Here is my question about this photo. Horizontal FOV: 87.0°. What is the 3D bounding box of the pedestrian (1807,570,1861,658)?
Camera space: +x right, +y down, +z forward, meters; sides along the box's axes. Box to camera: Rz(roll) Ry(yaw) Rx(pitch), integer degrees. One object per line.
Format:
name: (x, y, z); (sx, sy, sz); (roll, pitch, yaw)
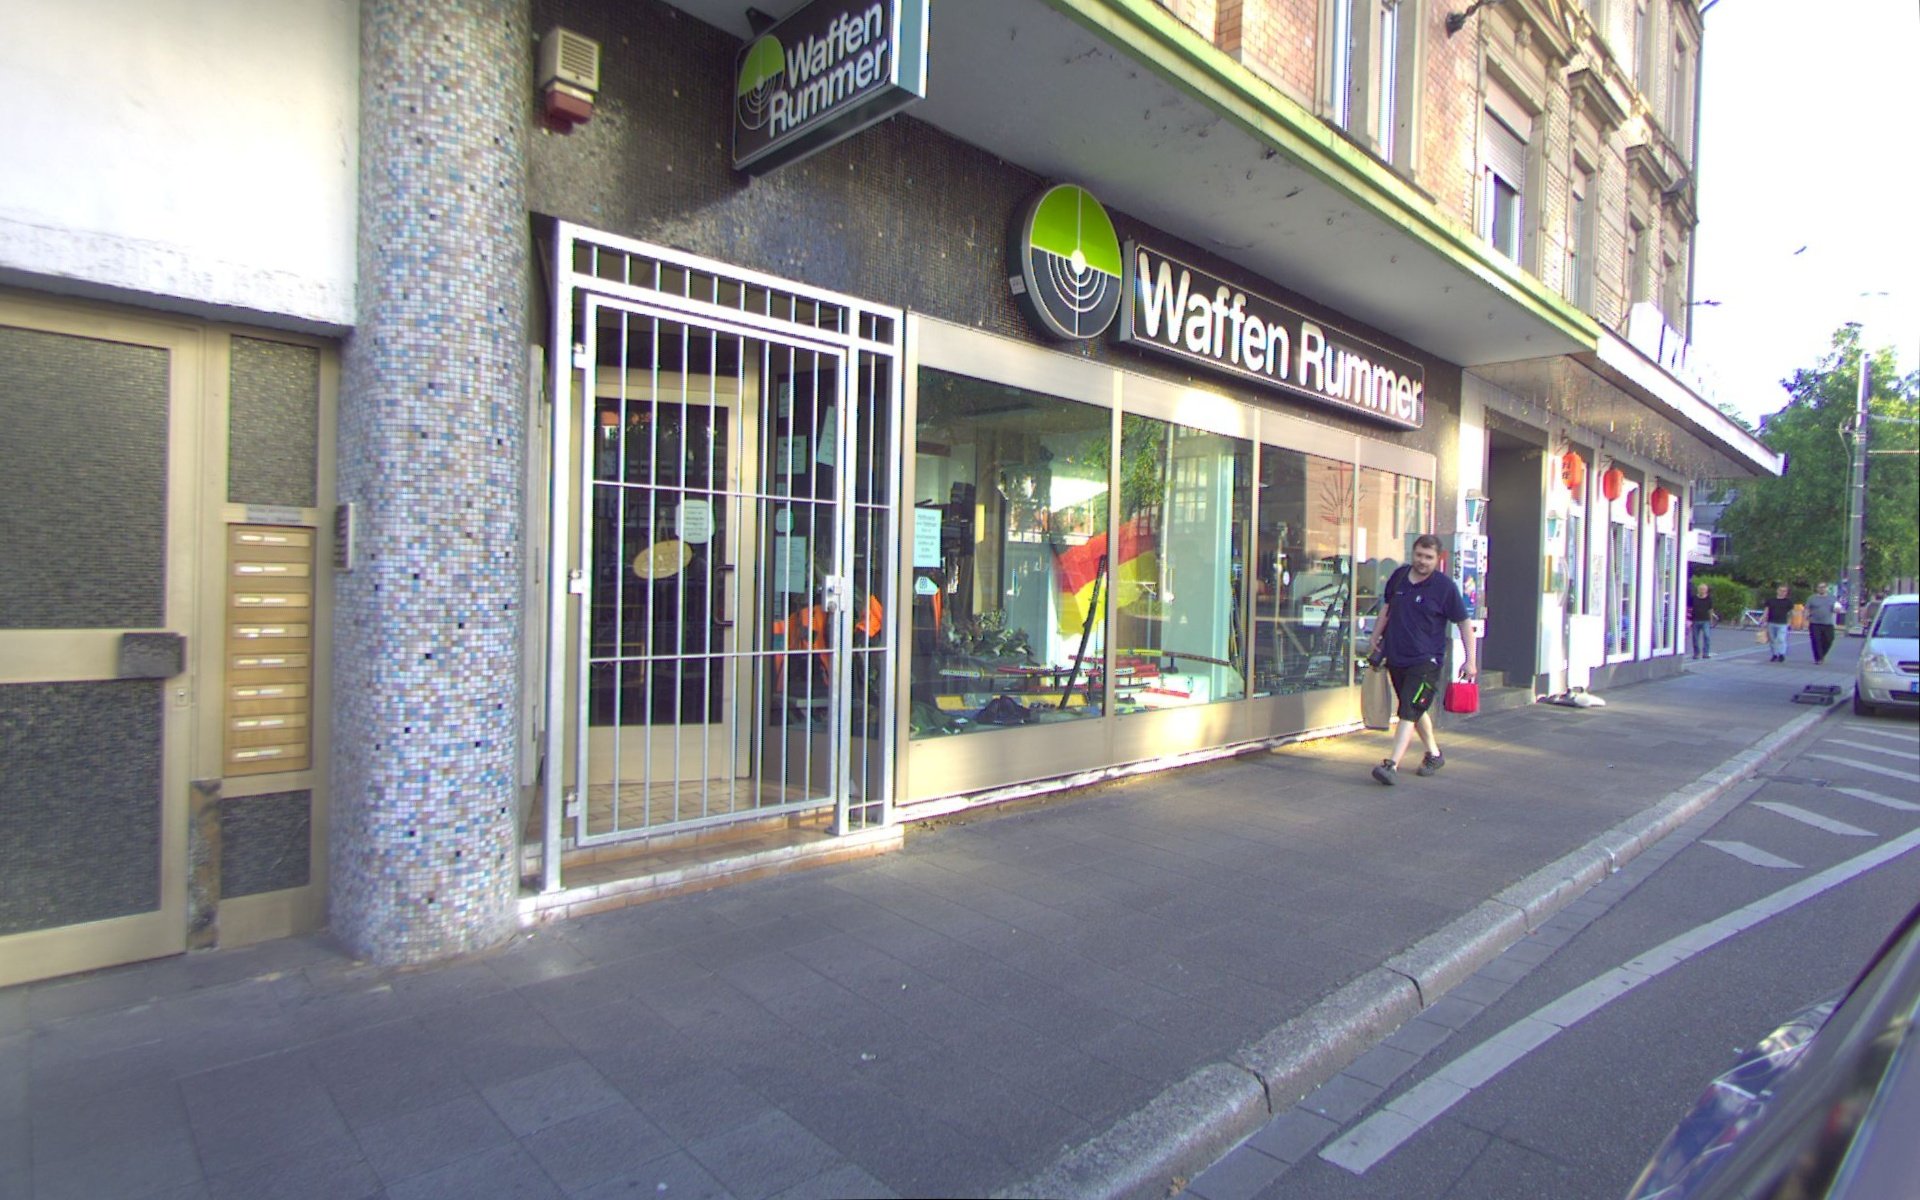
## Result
pedestrian: (19.936, 0.304, 23.094); (1.016, 1.922, 0.794); (0, 2, -44)

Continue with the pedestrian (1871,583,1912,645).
pedestrian: (26.928, 0.388, 29.259); (0.930, 1.759, 0.788); (0, 1, -44)

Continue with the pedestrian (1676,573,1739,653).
pedestrian: (17.135, 0.285, 23.198); (1.016, 1.734, 0.902); (0, 4, -44)

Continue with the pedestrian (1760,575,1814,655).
pedestrian: (19.120, 0.337, 23.402); (1.016, 1.778, 0.811); (0, 2, -44)

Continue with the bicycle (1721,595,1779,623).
bicycle: (33.777, 0.381, 43.279); (0.461, 1.109, 1.882); (0, 2, -45)

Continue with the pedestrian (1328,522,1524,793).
pedestrian: (3.441, 0.362, 7.472); (1.037, 1.814, 0.947); (0, 2, -44)

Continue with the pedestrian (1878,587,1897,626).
pedestrian: (42.381, 0.278, 46.241); (0.430, 1.734, 0.493); (0, 3, -44)

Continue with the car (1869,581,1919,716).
car: (13.295, 0.586, 13.440); (1.638, 1.635, 3.881); (1, 1, 45)

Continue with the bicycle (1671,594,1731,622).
bicycle: (32.039, 0.325, 43.781); (2.012, 1.109, 0.628); (4, 2, 40)

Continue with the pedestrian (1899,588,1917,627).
pedestrian: (42.813, 0.339, 45.703); (0.430, 1.734, 0.493); (0, 3, -44)
